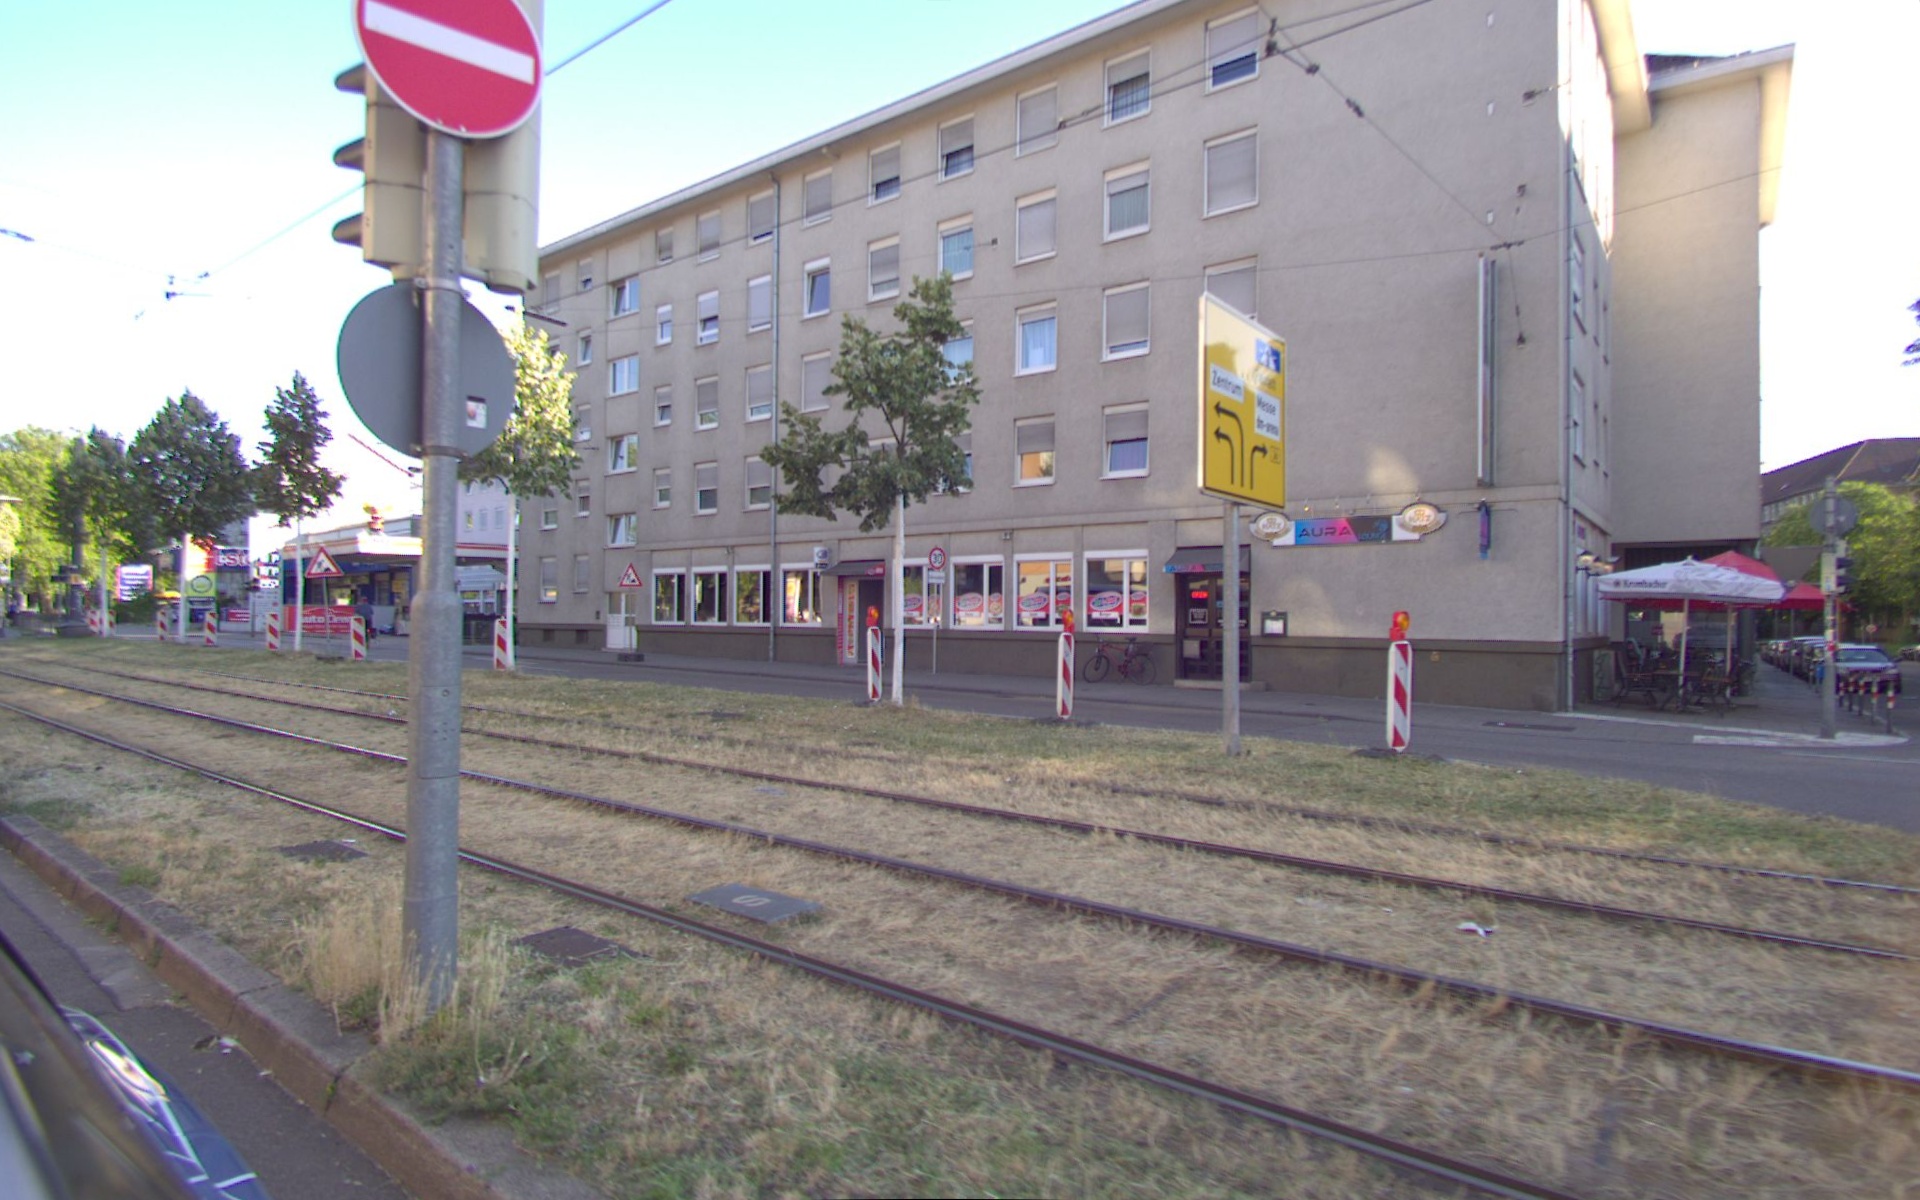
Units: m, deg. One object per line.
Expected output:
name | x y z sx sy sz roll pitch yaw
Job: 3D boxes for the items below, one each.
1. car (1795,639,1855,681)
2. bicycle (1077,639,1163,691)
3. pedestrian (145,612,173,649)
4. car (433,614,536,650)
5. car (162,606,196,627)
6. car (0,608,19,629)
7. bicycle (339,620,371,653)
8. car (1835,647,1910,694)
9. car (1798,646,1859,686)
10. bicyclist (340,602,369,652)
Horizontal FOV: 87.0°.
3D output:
car | 37.225 2.537 43.623 1.631 1.585 3.496 0 0 35
bicycle | 3.528 1.424 22.454 1.842 1.031 0.602 0 0 39
pedestrian | -28.065 1.062 35.448 0.580 1.280 0.656 -2 -1 39
car | -20.986 1.429 44.745 1.905 1.481 3.683 -3 -3 37
car | -61.607 1.265 79.803 1.757 1.567 4.004 0 1 -43
car | -82.960 1.567 87.626 1.971 1.748 4.396 -1 1 -45
bicycle | -23.433 1.417 39.162 1.868 1.267 0.450 -2 -2 39
car | 28.198 2.136 31.354 1.502 1.321 3.093 0 -2 38
car | 33.128 2.487 38.651 1.428 1.286 3.316 0 0 35
bicyclist | -23.417 1.058 39.134 0.808 1.897 0.645 -1 -3 39
